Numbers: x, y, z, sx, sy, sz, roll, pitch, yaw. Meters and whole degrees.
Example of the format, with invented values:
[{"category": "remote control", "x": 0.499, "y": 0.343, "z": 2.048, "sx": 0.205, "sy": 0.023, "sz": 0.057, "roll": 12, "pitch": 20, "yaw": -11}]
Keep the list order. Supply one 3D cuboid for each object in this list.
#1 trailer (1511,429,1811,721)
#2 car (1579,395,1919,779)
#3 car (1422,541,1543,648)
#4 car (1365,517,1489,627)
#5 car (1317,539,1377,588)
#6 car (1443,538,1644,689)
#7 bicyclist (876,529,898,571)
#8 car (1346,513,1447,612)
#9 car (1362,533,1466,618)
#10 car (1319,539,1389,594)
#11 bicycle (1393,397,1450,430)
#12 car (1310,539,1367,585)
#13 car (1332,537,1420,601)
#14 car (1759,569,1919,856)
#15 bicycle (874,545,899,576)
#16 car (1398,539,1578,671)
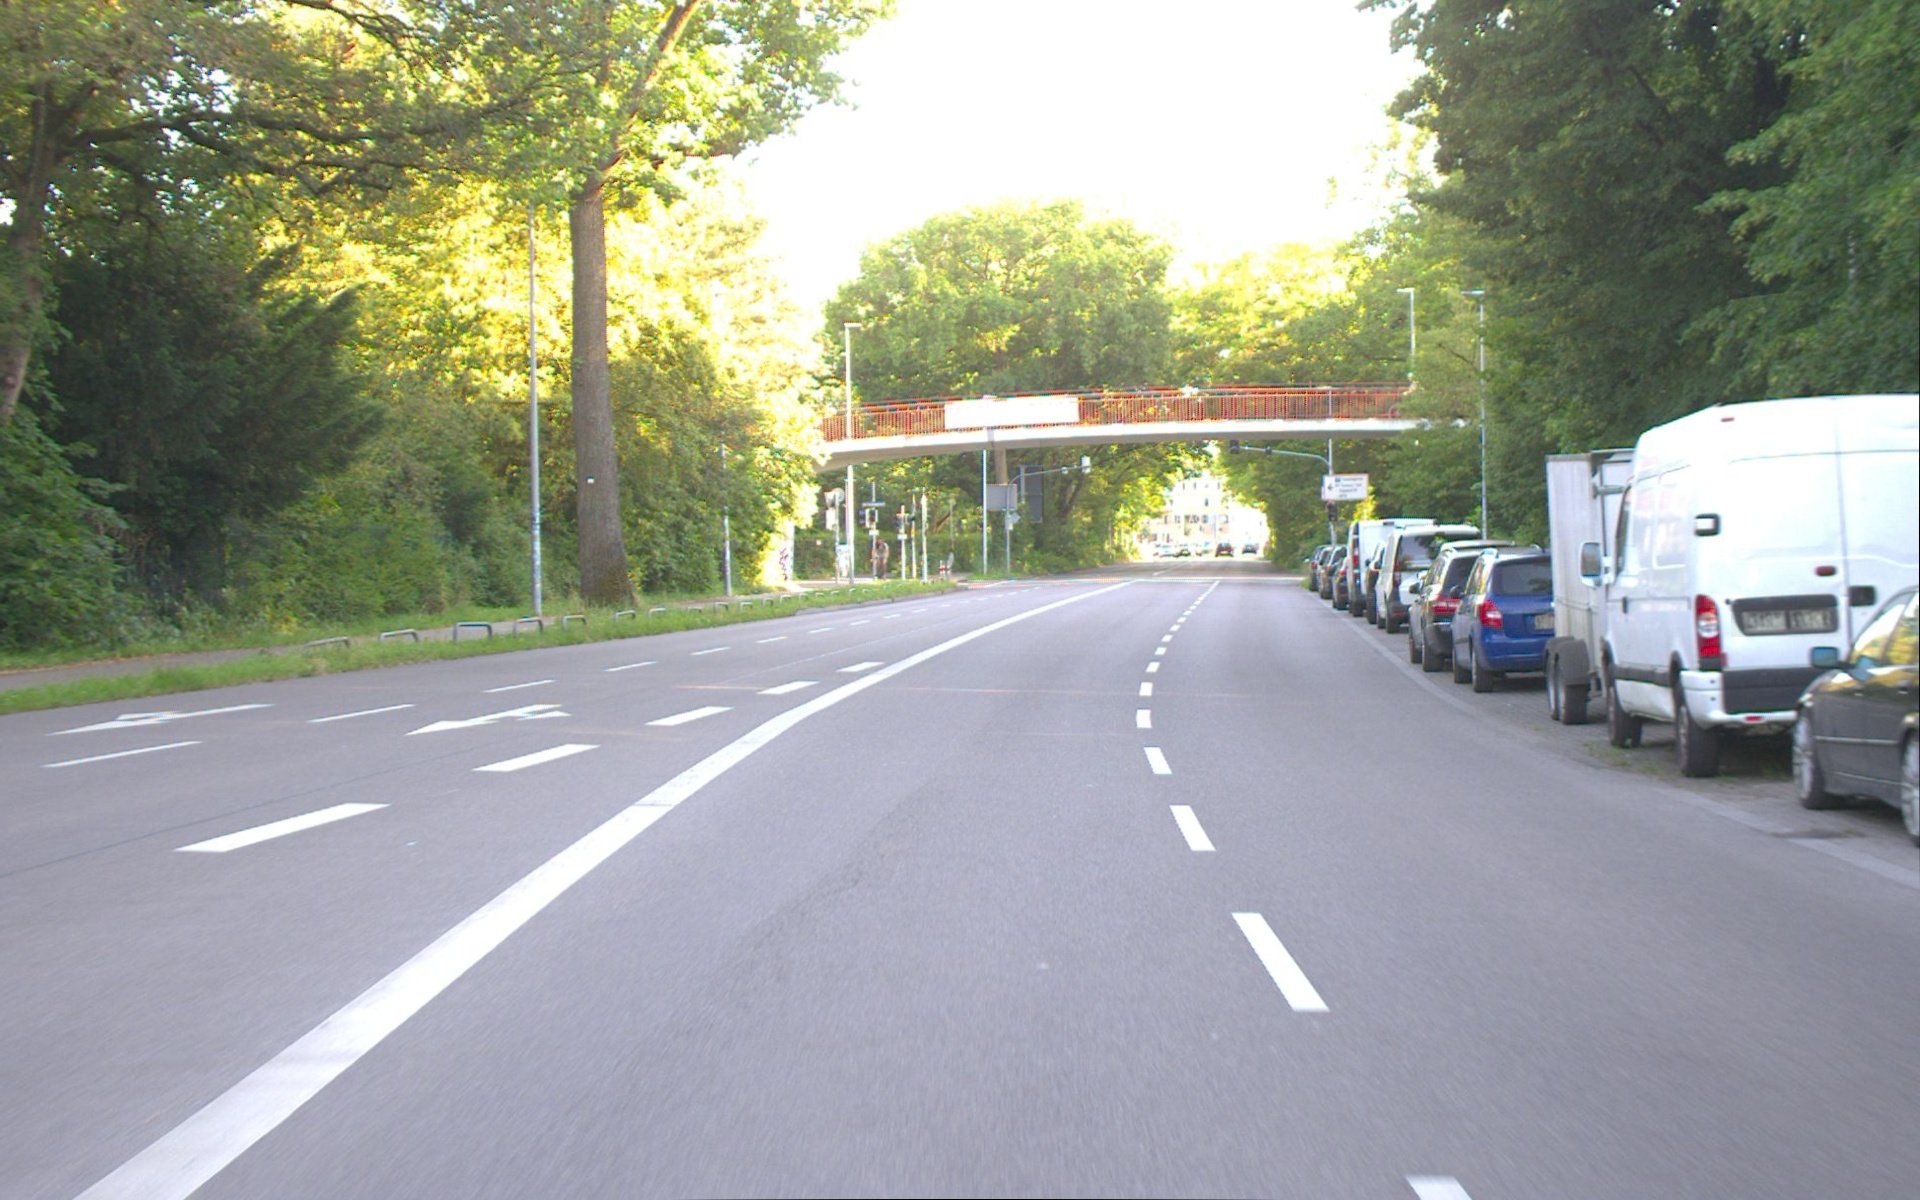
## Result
[{"category": "trailer", "x": 6.288, "y": -0.237, "z": 31.388, "sx": 1.904, "sy": 2.415, "sz": 5.126, "roll": -1, "pitch": 1, "yaw": 3}, {"category": "car", "x": 5.768, "y": -0.116, "z": 24.623, "sx": 1.904, "sy": 2.415, "sz": 5.575, "roll": -1, "pitch": 1, "yaw": 3}, {"category": "car", "x": 7.566, "y": -0.095, "z": 49.975, "sx": 1.586, "sy": 1.490, "sz": 3.179, "roll": -1, "pitch": 1, "yaw": 6}, {"category": "car", "x": 8.085, "y": -0.488, "z": 59.806, "sx": 1.759, "sy": 1.798, "sz": 4.737, "roll": -1, "pitch": 1, "yaw": 3}, {"category": "car", "x": 12.168, "y": -1.151, "z": 107.984, "sx": 1.775, "sy": 1.449, "sz": 4.013, "roll": -1, "pitch": 1, "yaw": 8}, {"category": "car", "x": 6.315, "y": 0.117, "z": 37.588, "sx": 1.677, "sy": 1.530, "sz": 4.353, "roll": -1, "pitch": 1, "yaw": 3}, {"category": "bicyclist", "x": -2.773, "y": -1.892, "z": 130.497, "sx": 0.712, "sy": 1.553, "sz": 1.142, "roll": 1, "pitch": 0, "yaw": 5}, {"category": "car", "x": 9.146, "y": -0.798, "z": 72.412, "sx": 1.869, "sy": 1.974, "sz": 5.474, "roll": -1, "pitch": 1, "yaw": 5}, {"category": "car", "x": 8.698, "y": -0.481, "z": 66.106, "sx": 1.759, "sy": 1.542, "sz": 4.428, "roll": -1, "pitch": 1, "yaw": 5}, {"category": "car", "x": 10.868, "y": -0.922, "z": 95.126, "sx": 1.637, "sy": 1.449, "sz": 4.897, "roll": -1, "pitch": 1, "yaw": 3}, {"category": "bicycle", "x": 16.997, "y": -6.859, "z": 126.623, "sx": 1.987, "sy": 1.143, "sz": 0.714, "roll": 1, "pitch": 0, "yaw": 3}, {"category": "car", "x": 12.349, "y": -1.241, "z": 112.394, "sx": 1.774, "sy": 1.449, "sz": 4.387, "roll": -1, "pitch": 1, "yaw": 6}, {"category": "car", "x": 9.530, "y": -0.722, "z": 78.997, "sx": 1.869, "sy": 1.401, "sz": 4.368, "roll": -1, "pitch": 1, "yaw": 5}, {"category": "car", "x": 5.634, "y": 0.537, "z": 18.560, "sx": 1.677, "sy": 1.396, "sz": 4.650, "roll": -1, "pitch": 1, "yaw": 2}, {"category": "bicycle", "x": -2.791, "y": -1.489, "z": 130.500, "sx": 0.712, "sy": 1.143, "sz": 1.993, "roll": 1, "pitch": 0, "yaw": 5}, {"category": "car", "x": 6.596, "y": 0.031, "z": 43.352, "sx": 1.759, "sy": 1.530, "sz": 4.988, "roll": -1, "pitch": 1, "yaw": 3}]
